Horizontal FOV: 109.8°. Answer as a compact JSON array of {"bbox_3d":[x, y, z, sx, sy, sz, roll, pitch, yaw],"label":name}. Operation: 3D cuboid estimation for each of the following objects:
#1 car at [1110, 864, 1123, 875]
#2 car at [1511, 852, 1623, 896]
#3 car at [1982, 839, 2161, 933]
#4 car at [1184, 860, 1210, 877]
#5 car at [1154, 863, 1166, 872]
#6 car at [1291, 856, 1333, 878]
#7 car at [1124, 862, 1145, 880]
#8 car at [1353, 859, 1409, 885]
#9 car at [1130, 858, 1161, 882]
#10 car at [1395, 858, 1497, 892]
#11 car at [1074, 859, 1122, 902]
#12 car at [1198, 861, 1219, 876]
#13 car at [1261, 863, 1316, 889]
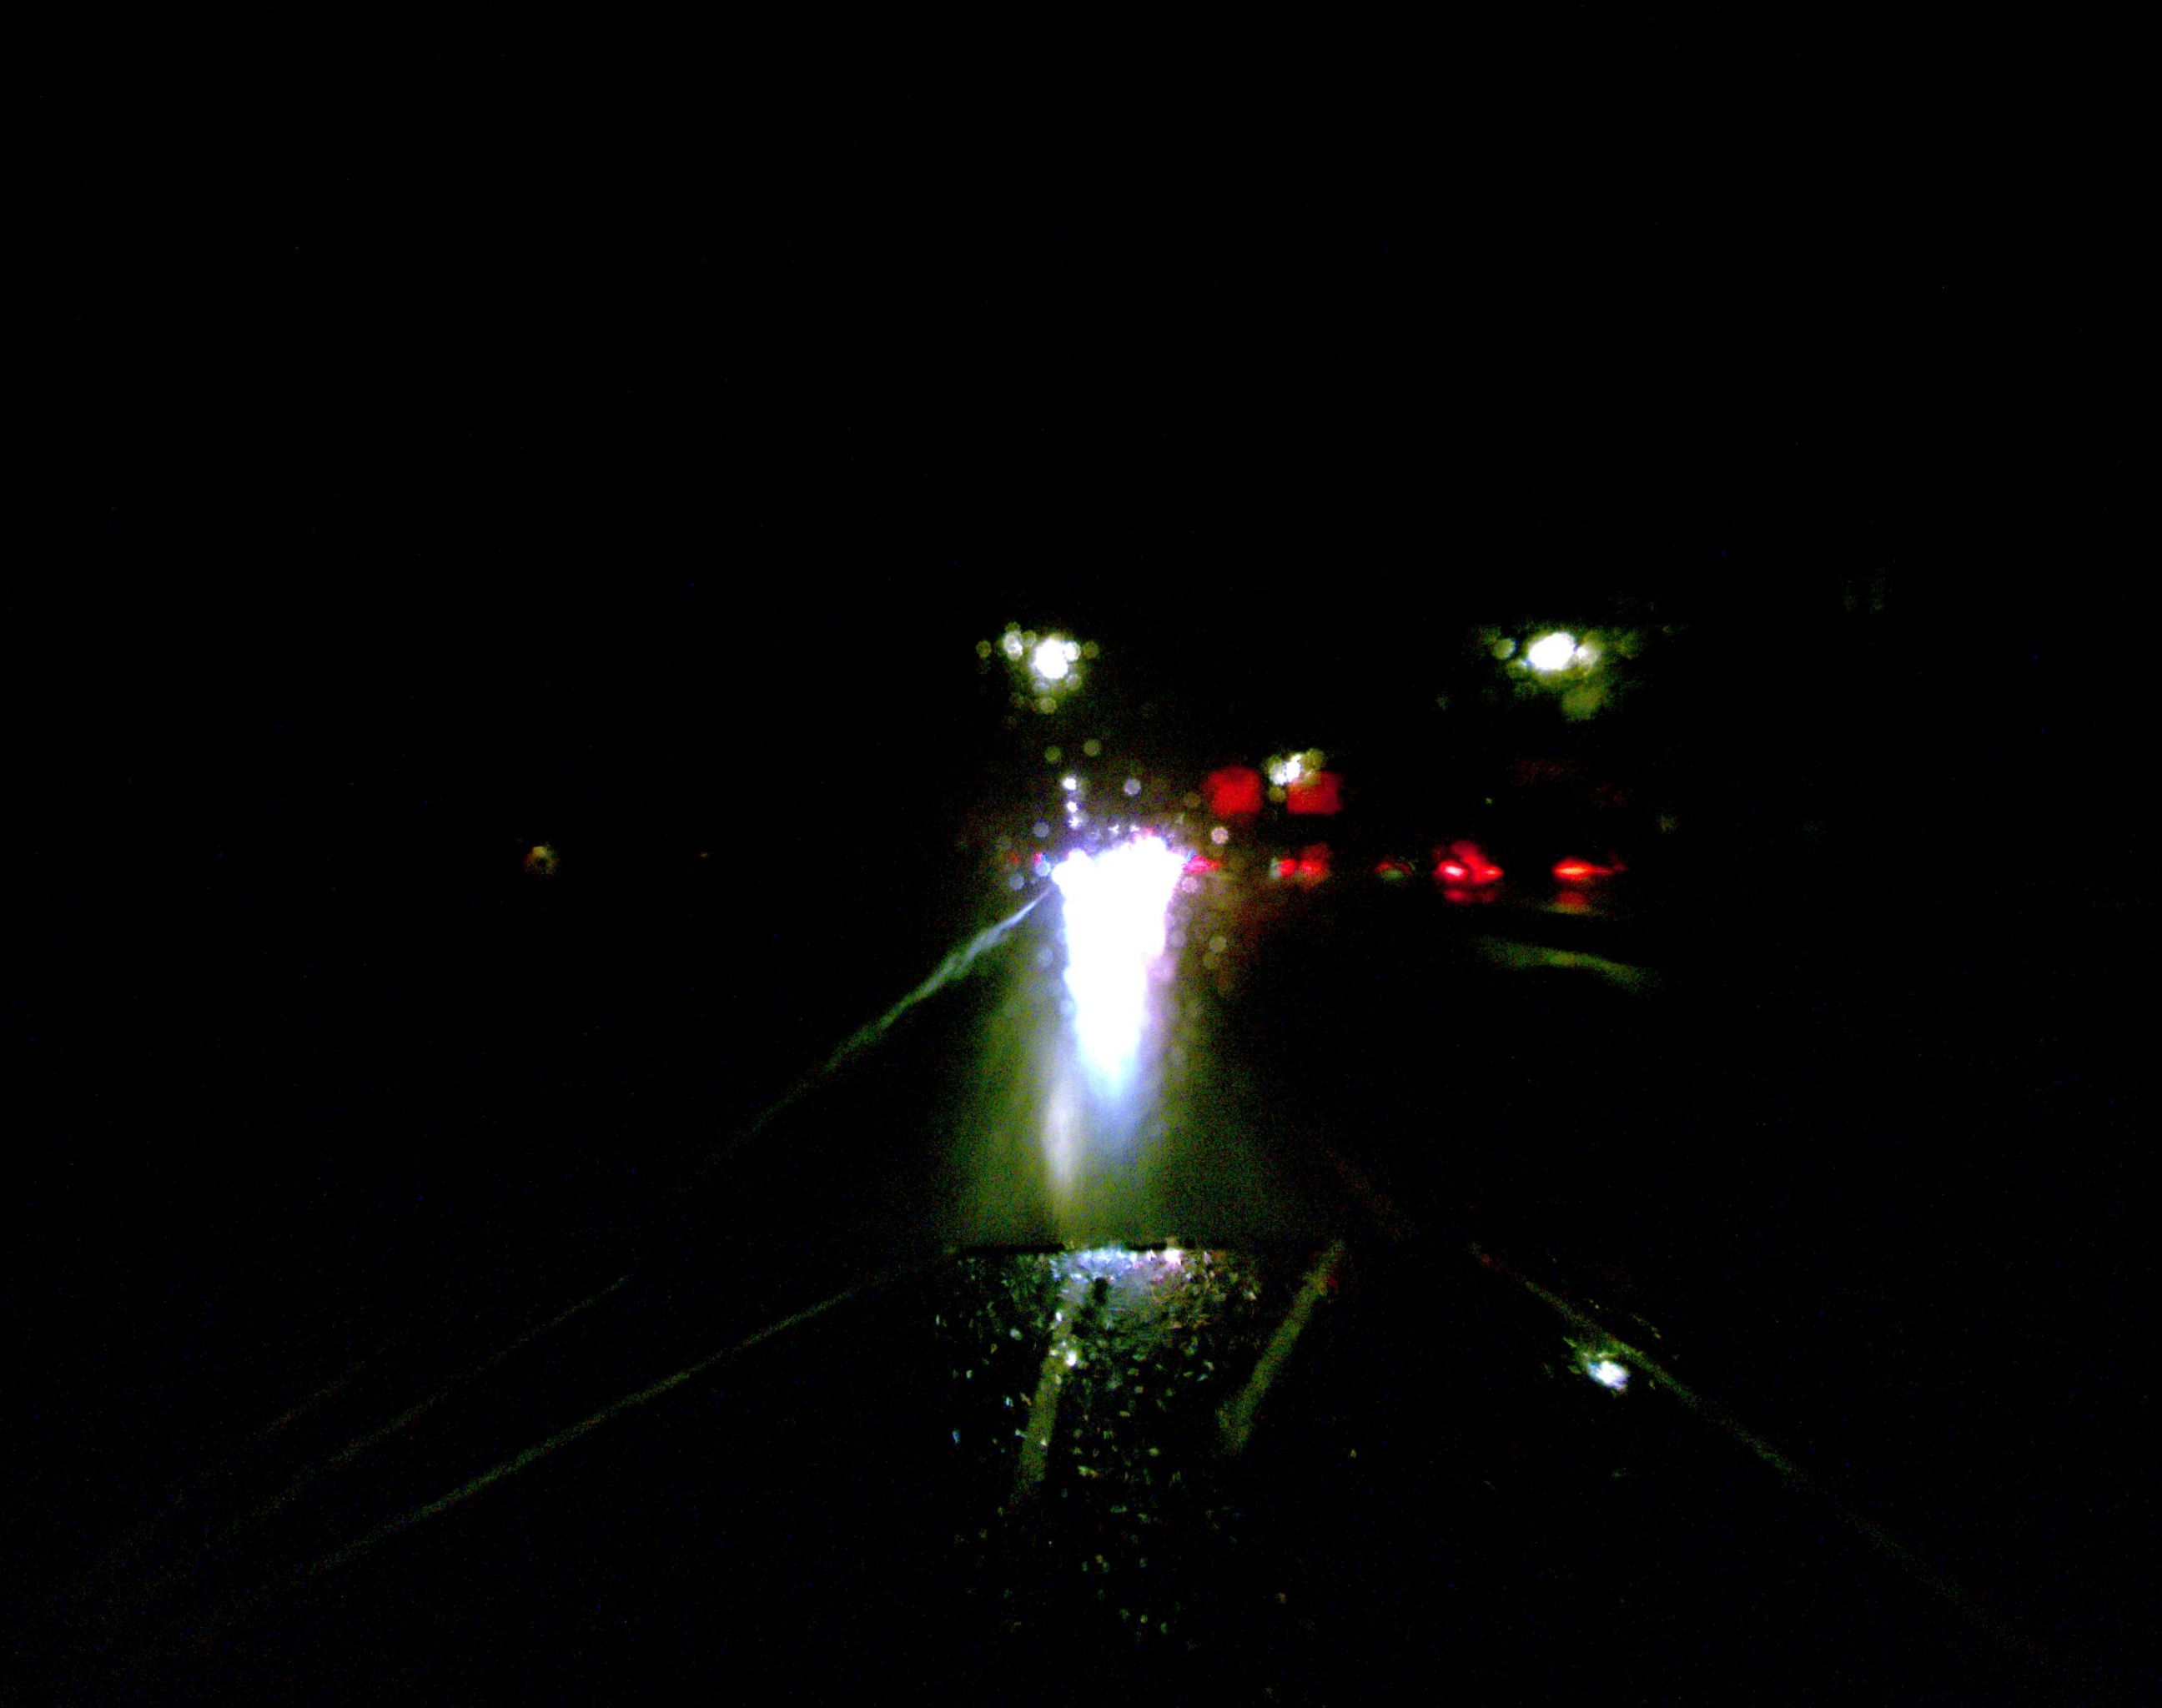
[{"bbox_3d":[5.763,2.526,123.750,1.833,1.696,4.194,-2,0,1],"label":"car"},{"bbox_3d":[19.700,0.775,31.068,1.847,1.583,4.366,-2,0,2],"label":"car"},{"bbox_3d":[19.584,0.534,13.560,1.847,1.583,4.366,-2,0,2],"label":"car"},{"bbox_3d":[11.502,1.374,75.562,1.848,1.583,4.256,2,0,-1],"label":"car"},{"bbox_3d":[14.594,2.485,139.914,1.711,1.568,3.820,-2,0,-1],"label":"car"},{"bbox_3d":[17.764,0.983,58.660,1.847,1.583,4.751,-2,0,2],"label":"car"},{"bbox_3d":[5.404,1.664,77.029,1.833,1.696,4.194,-2,0,1],"label":"car"},{"bbox_3d":[19.643,1.147,49.938,1.848,1.583,4.750,-2,0,1],"label":"car"},{"bbox_3d":[4.542,1.104,54.140,1.833,1.518,4.875,-2,0,1],"label":"car"},{"bbox_3d":[16.472,0.894,34.689,1.848,1.350,5.558,-2,0,-1],"label":"car"},{"bbox_3d":[0.727,1.138,34.139,1.950,1.709,4.442,-2,0,1],"label":"car"},{"bbox_3d":[14.234,1.652,85.012,1.711,1.568,3.820,-2,0,-1],"label":"car"},{"bbox_3d":[13.674,1.414,50.458,1.848,1.583,5.326,-2,0,-3],"label":"car"}]
